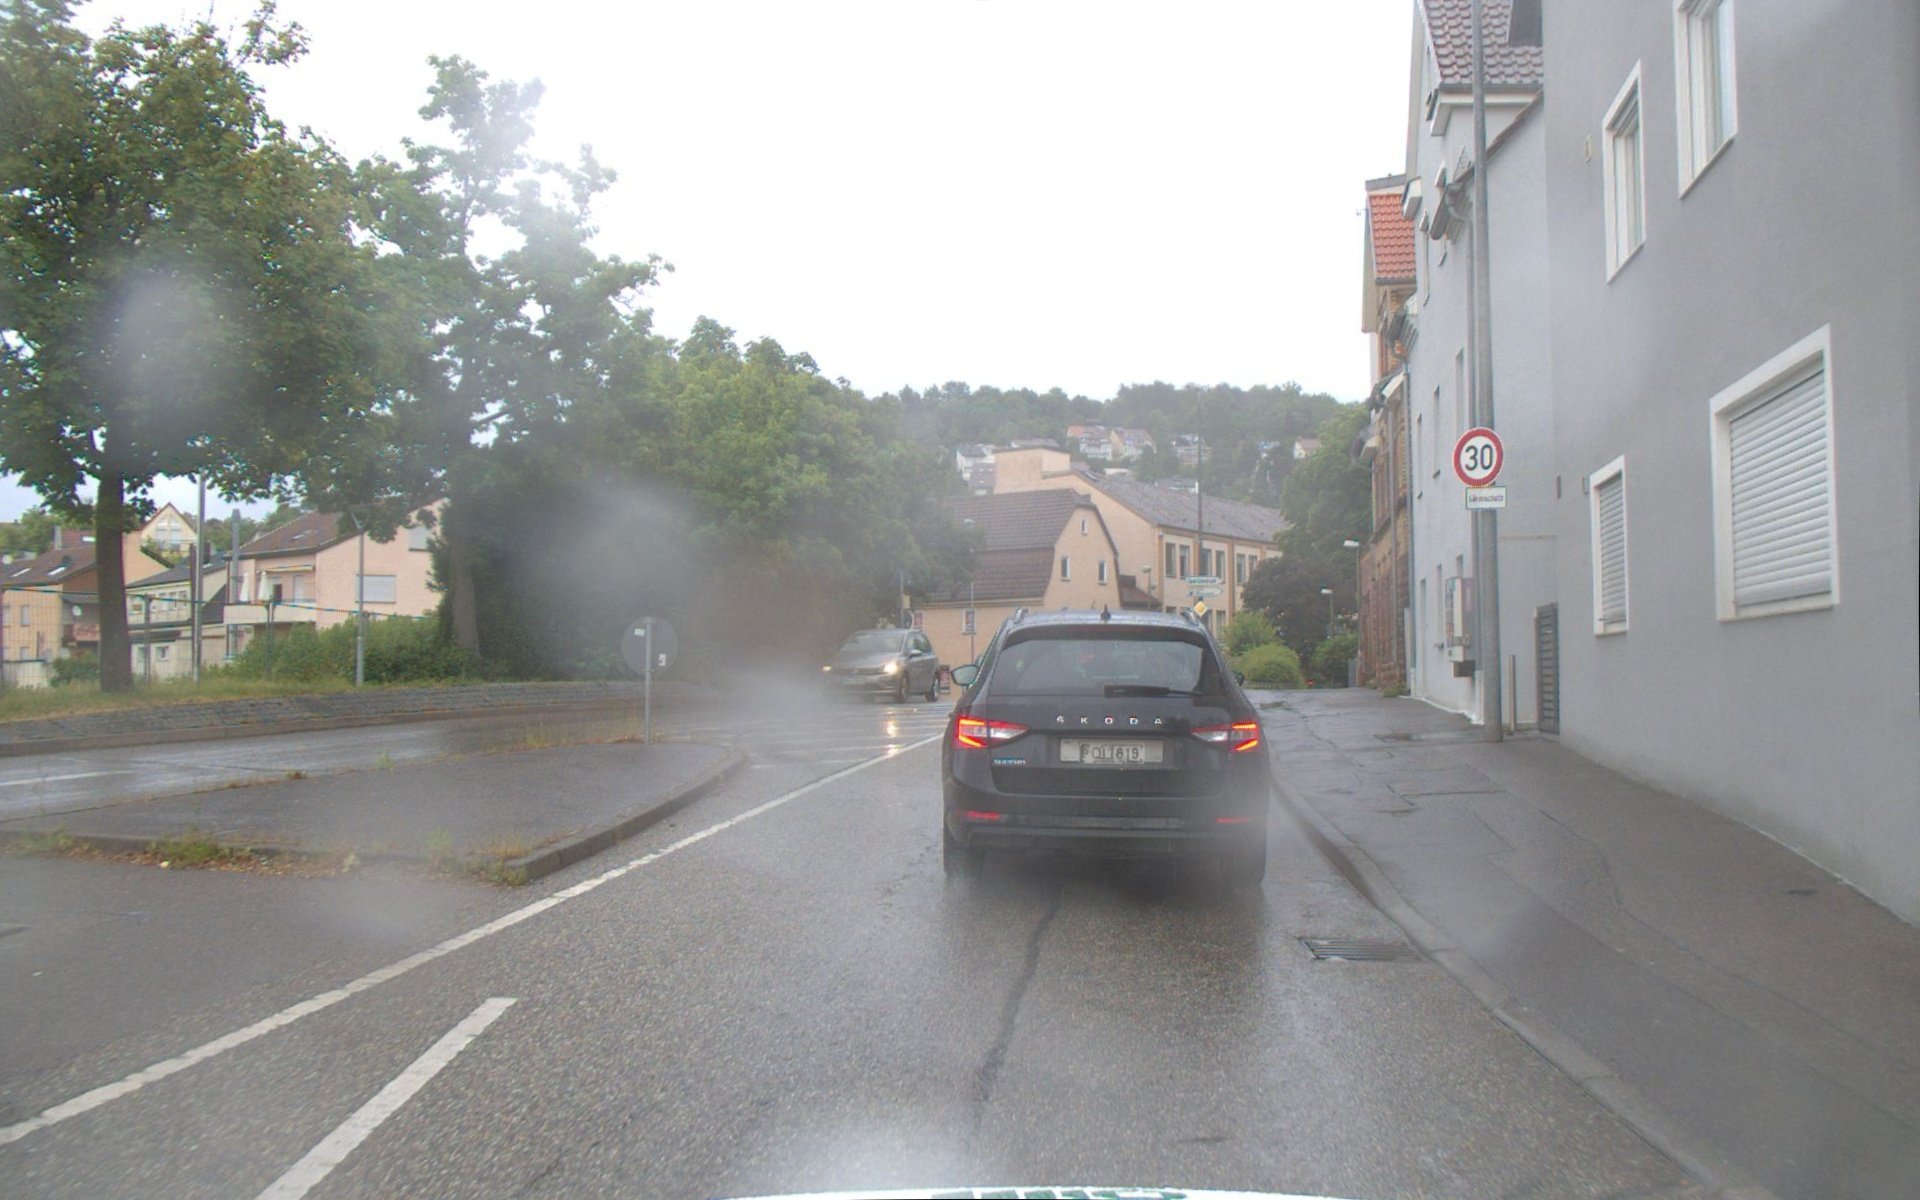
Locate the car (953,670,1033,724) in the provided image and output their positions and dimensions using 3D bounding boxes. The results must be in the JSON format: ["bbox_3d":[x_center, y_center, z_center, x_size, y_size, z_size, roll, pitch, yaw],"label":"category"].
[{"bbox_3d":[1.075,3.019,51.959,1.605,1.547,4.073,0,-2,15],"label":"car"}]

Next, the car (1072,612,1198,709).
[{"bbox_3d":[2.797,0.987,25.796,1.779,1.384,3.992,-1,-4,8],"label":"car"}]

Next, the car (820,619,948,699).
[{"bbox_3d":[-1.543,1.241,35.124,1.609,1.579,4.157,0,-2,14],"label":"car"}]

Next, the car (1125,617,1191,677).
[{"bbox_3d":[5.175,1.190,43.035,1.617,1.411,3.922,1,0,7],"label":"car"}]

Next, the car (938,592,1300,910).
[{"bbox_3d":[0.865,0.751,10.272,1.745,1.509,4.247,2,0,2],"label":"car"}]
